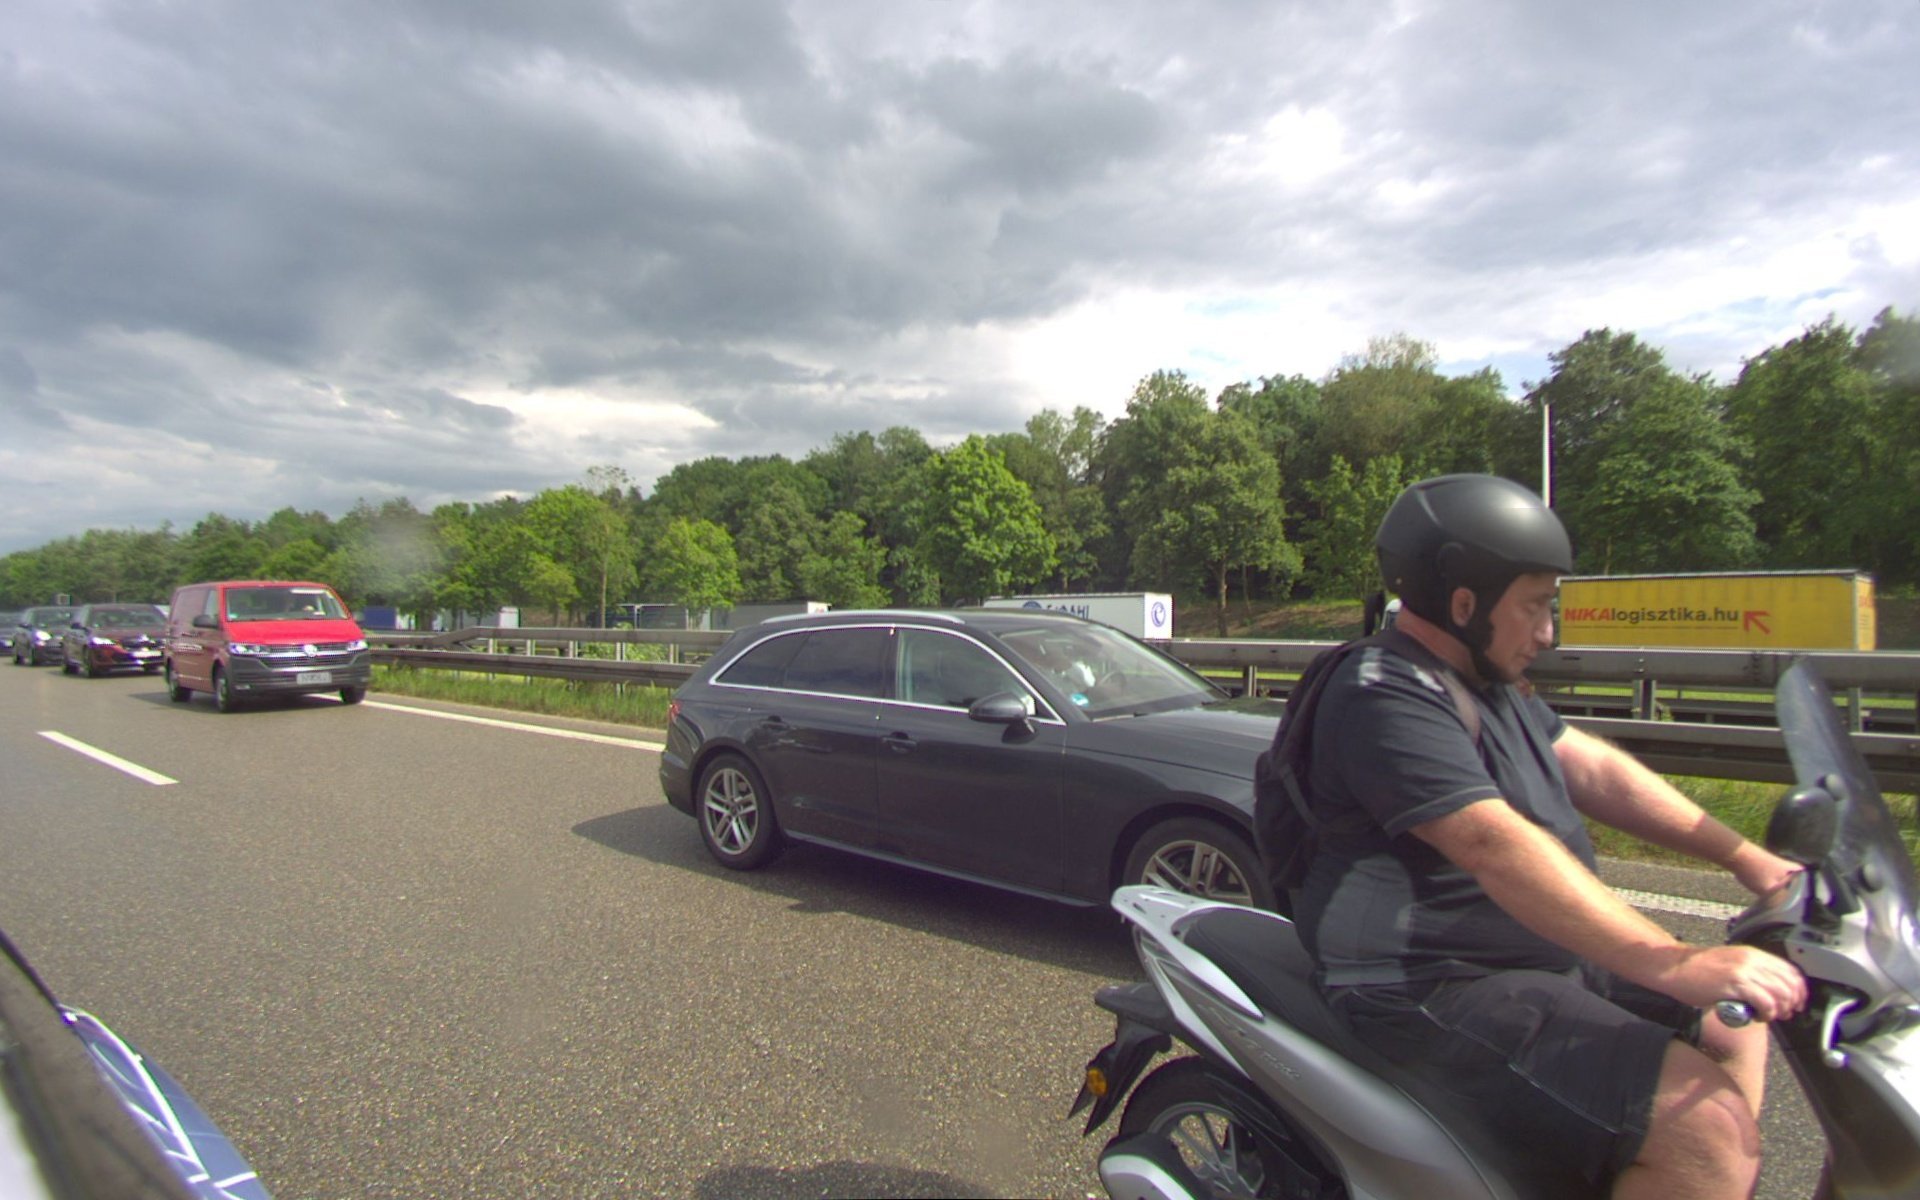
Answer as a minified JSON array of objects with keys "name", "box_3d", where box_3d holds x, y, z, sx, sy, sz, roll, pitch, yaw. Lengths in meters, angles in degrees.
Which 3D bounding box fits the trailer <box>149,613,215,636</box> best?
[{"name":"trailer","box_3d":[-122.141,3.790,158.864,13.352,3.539,2.681,0,-2,27]}]

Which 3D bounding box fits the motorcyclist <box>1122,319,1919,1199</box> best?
[{"name":"motorcyclist","box_3d":[0.872,0.433,1.597,1.018,1.453,0.664,-1,0,38]}]

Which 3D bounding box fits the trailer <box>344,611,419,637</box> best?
[{"name":"trailer","box_3d":[-76.607,3.132,133.853,13.375,3.296,3.050,-1,-2,34]}]

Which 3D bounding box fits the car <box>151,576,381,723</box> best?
[{"name":"car","box_3d":[-11.131,0.710,16.086,4.747,2.000,1.871,-1,-1,41]}]

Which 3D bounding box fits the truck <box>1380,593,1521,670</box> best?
[{"name":"truck","box_3d":[20.979,1.283,43.466,1.950,3.121,5.087,-1,0,-37]}]

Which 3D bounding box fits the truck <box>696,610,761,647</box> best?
[{"name":"truck","box_3d":[-20.682,2.534,90.290,5.596,3.208,3.009,-1,-2,43]}]

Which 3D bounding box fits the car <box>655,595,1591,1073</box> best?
[{"name":"car","box_3d":[0.448,0.725,5.126,4.465,1.422,1.701,-1,-1,41]}]

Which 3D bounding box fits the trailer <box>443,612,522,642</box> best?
[{"name":"trailer","box_3d":[-56.535,3.182,119.567,12.631,3.296,3.153,-1,-2,38]}]

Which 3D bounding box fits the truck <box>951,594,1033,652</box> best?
[{"name":"truck","box_3d":[2.038,1.542,66.569,2.136,3.648,5.585,2,-2,-42]}]

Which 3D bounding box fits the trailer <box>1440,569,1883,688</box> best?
[{"name":"trailer","box_3d":[25.165,0.933,37.863,1.967,3.723,13.688,0,0,-37]}]

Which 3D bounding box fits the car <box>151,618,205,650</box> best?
[{"name":"car","box_3d":[-52.660,2.258,68.103,4.727,2.029,1.973,-1,0,40]}]

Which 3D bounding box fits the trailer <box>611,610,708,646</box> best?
[{"name":"trailer","box_3d":[-29.222,2.671,97.857,12.640,3.296,2.577,-1,-3,41]}]

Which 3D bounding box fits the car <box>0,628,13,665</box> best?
[{"name":"car","box_3d":[-34.053,1.595,34.880,3.997,1.245,1.654,-1,-1,40]}]

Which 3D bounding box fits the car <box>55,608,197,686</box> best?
[{"name":"car","box_3d":[-19.727,1.043,23.882,4.292,1.682,1.871,-1,-1,40]}]

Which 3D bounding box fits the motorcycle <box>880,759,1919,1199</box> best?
[{"name":"motorcycle","box_3d":[0.833,0.929,1.626,1.979,1.095,0.669,-1,0,38]}]

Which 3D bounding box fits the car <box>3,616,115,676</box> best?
[{"name":"car","box_3d":[-25.832,1.260,28.969,4.051,1.578,1.871,-1,-1,41]}]

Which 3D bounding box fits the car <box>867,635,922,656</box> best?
[{"name":"car","box_3d":[-4.819,3.339,74.502,4.002,1.514,1.873,-1,-3,45]}]

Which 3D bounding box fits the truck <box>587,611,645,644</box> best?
[{"name":"truck","box_3d":[-34.947,2.765,102.782,6.532,3.275,2.549,-1,-2,41]}]

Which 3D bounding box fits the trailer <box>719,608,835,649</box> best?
[{"name":"trailer","box_3d":[-15.632,2.418,85.530,12.173,3.217,2.987,-1,-2,43]}]

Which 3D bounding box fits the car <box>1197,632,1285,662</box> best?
[{"name":"car","box_3d":[14.516,2.406,52.439,1.871,1.514,4.005,2,-2,-41]}]

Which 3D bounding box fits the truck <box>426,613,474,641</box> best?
[{"name":"truck","box_3d":[-62.712,3.282,124.427,5.385,3.280,3.142,-1,-3,39]}]

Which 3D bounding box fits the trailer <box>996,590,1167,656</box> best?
[{"name":"trailer","box_3d":[7.019,1.391,60.984,2.156,3.627,11.734,2,-2,-41]}]
